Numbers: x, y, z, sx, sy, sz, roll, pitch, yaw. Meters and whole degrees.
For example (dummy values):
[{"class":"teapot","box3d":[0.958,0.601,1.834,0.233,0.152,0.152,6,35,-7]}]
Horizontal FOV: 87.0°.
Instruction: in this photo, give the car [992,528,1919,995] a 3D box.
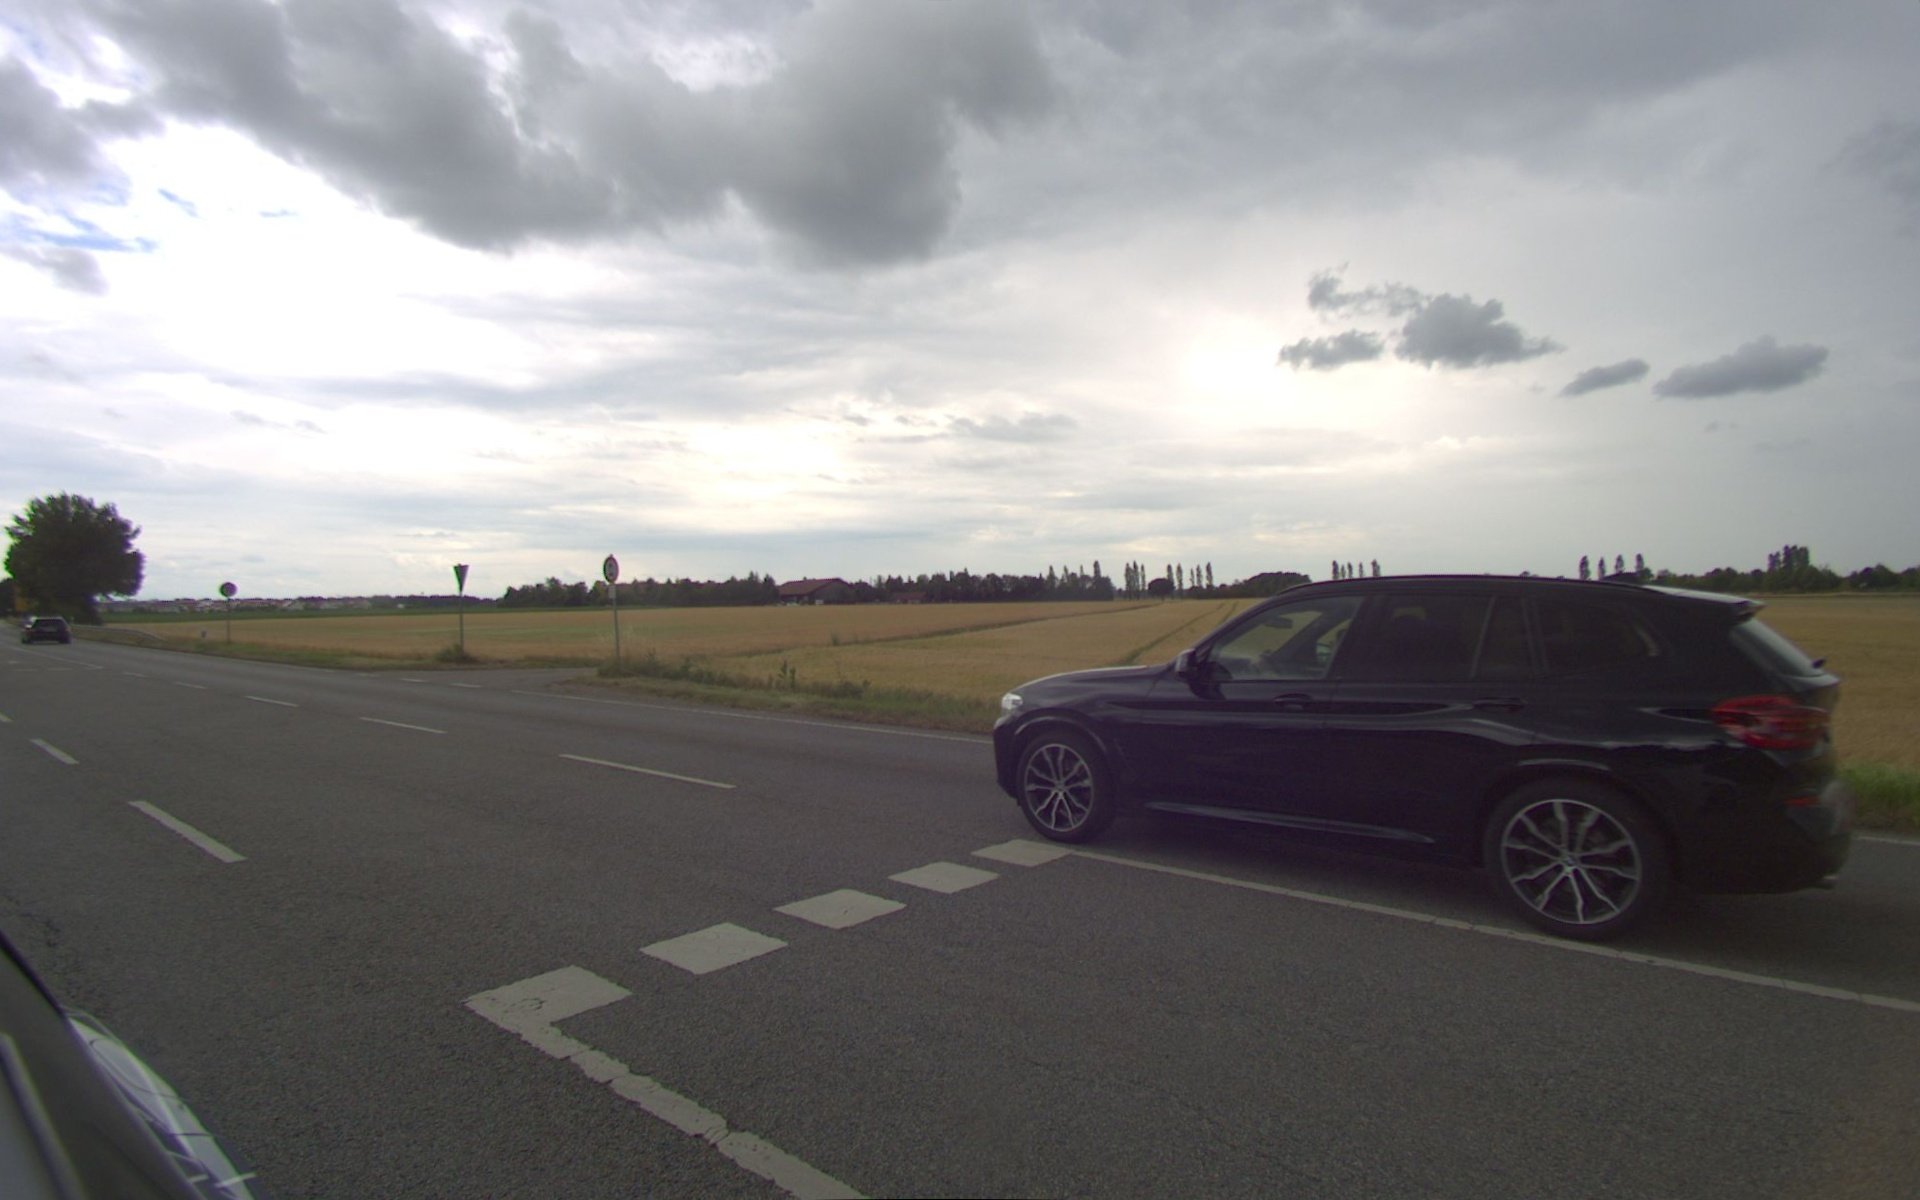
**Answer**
[{"class":"car","box3d":[2.499,0.624,5.911,4.445,1.707,1.926,-1,-1,42]}]

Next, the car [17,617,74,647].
[{"class":"car","box3d":[-47.688,1.647,52.764,1.971,1.521,4.002,2,-2,-45]}]
